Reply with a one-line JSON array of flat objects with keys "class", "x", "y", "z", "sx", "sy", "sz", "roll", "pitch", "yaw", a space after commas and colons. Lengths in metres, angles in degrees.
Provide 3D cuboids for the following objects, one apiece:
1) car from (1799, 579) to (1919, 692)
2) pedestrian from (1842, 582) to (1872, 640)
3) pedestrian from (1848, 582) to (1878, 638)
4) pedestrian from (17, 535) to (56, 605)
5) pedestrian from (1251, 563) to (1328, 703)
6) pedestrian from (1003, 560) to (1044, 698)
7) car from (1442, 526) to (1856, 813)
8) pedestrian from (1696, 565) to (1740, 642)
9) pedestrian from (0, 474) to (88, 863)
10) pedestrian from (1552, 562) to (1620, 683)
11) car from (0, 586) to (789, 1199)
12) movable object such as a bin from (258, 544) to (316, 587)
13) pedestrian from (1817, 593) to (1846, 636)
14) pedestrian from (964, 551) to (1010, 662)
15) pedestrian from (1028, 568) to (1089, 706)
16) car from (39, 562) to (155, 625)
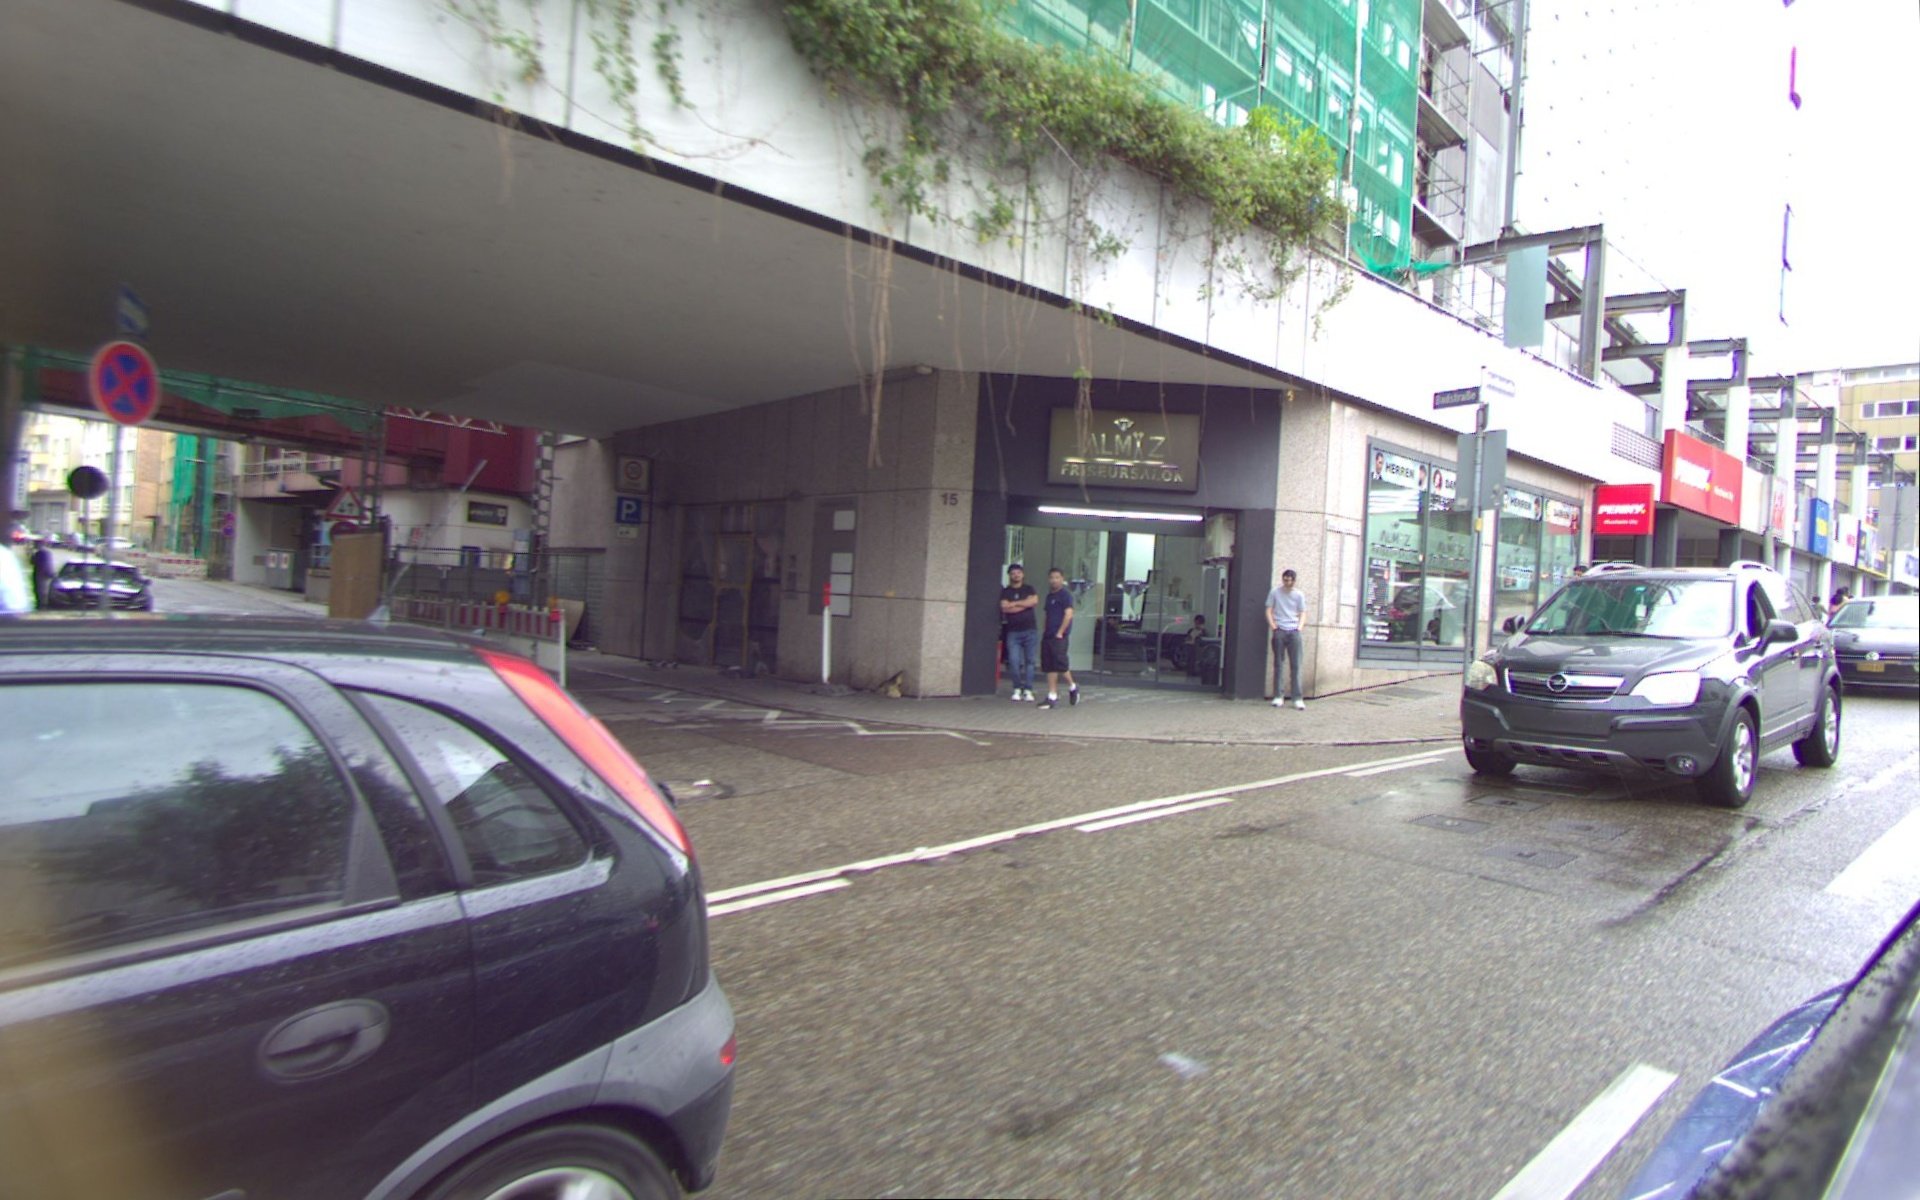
[{"class": "car", "x": 14.310, "y": 0.506, "z": 15.311, "sx": 4.089, "sy": 1.523, "sz": 1.758, "roll": 1, "pitch": -1, "yaw": -40}, {"class": "pedestrian", "x": 24.222, "y": 0.289, "z": 27.336, "sx": 0.570, "sy": 1.519, "sz": 0.509, "roll": -1, "pitch": 3, "yaw": -42}, {"class": "pedestrian", "x": 25.042, "y": 0.267, "z": 28.061, "sx": 0.570, "sy": 1.519, "sz": 0.509, "roll": -1, "pitch": 3, "yaw": -42}, {"class": "pedestrian", "x": -23.121, "y": -0.741, "z": 25.356, "sx": 0.697, "sy": 1.701, "sz": 0.749, "roll": -1, "pitch": 0, "yaw": -42}, {"class": "pedestrian", "x": 4.071, "y": 0.383, "z": 12.512, "sx": 0.722, "sy": 1.663, "sz": 0.637, "roll": -1, "pitch": 0, "yaw": -44}, {"class": "pedestrian", "x": 0.800, "y": 0.362, "z": 12.901, "sx": 0.474, "sy": 1.729, "sz": 0.467, "roll": -1, "pitch": 0, "yaw": 0}, {"class": "car", "x": 5.788, "y": 0.456, "z": 8.313, "sx": 4.089, "sy": 1.788, "sz": 1.763, "roll": 1, "pitch": -1, "yaw": -40}, {"class": "pedestrian", "x": 17.147, "y": 0.075, "z": 22.902, "sx": 0.499, "sy": 1.699, "sz": 0.581, "roll": 0, "pitch": 2, "yaw": -20}, {"class": "pedestrian", "x": -5.220, "y": 0.345, "z": 5.309, "sx": 0.724, "sy": 1.959, "sz": 0.640, "roll": -1, "pitch": 0, "yaw": -3}, {"class": "pedestrian", "x": 8.799, "y": 0.293, "z": 14.227, "sx": 0.674, "sy": 1.647, "sz": 0.571, "roll": 3, "pitch": 3, "yaw": 43}, {"class": "car", "x": -2.210, "y": 0.693, "z": 1.433, "sx": 3.558, "sy": 1.447, "sz": 1.610, "roll": 1, "pitch": -1, "yaw": -40}, {"class": "movable object such as a bin", "x": -34.528, "y": -1.720, "z": 51.861, "sx": 3.822, "sy": 2.117, "sz": 1.462, "roll": 0, "pitch": 1, "yaw": 40}, {"class": "pedestrian", "x": 24.394, "y": 0.395, "z": 28.318, "sx": 0.570, "sy": 1.181, "sz": 0.509, "roll": -1, "pitch": 3, "yaw": -42}, {"class": "pedestrian", "x": 0.466, "y": 0.095, "z": 17.205, "sx": 0.730, "sy": 1.838, "sz": 0.773, "roll": 2, "pitch": 2, "yaw": 3}, {"class": "pedestrian", "x": 1.199, "y": 0.431, "z": 12.252, "sx": 0.630, "sy": 1.615, "sz": 0.574, "roll": 0, "pitch": 0, "yaw": 16}, {"class": "car", "x": -19.490, "y": -0.161, "z": 22.807, "sx": 1.788, "sy": 1.276, "sz": 4.053, "roll": -1, "pitch": 1, "yaw": -43}]
